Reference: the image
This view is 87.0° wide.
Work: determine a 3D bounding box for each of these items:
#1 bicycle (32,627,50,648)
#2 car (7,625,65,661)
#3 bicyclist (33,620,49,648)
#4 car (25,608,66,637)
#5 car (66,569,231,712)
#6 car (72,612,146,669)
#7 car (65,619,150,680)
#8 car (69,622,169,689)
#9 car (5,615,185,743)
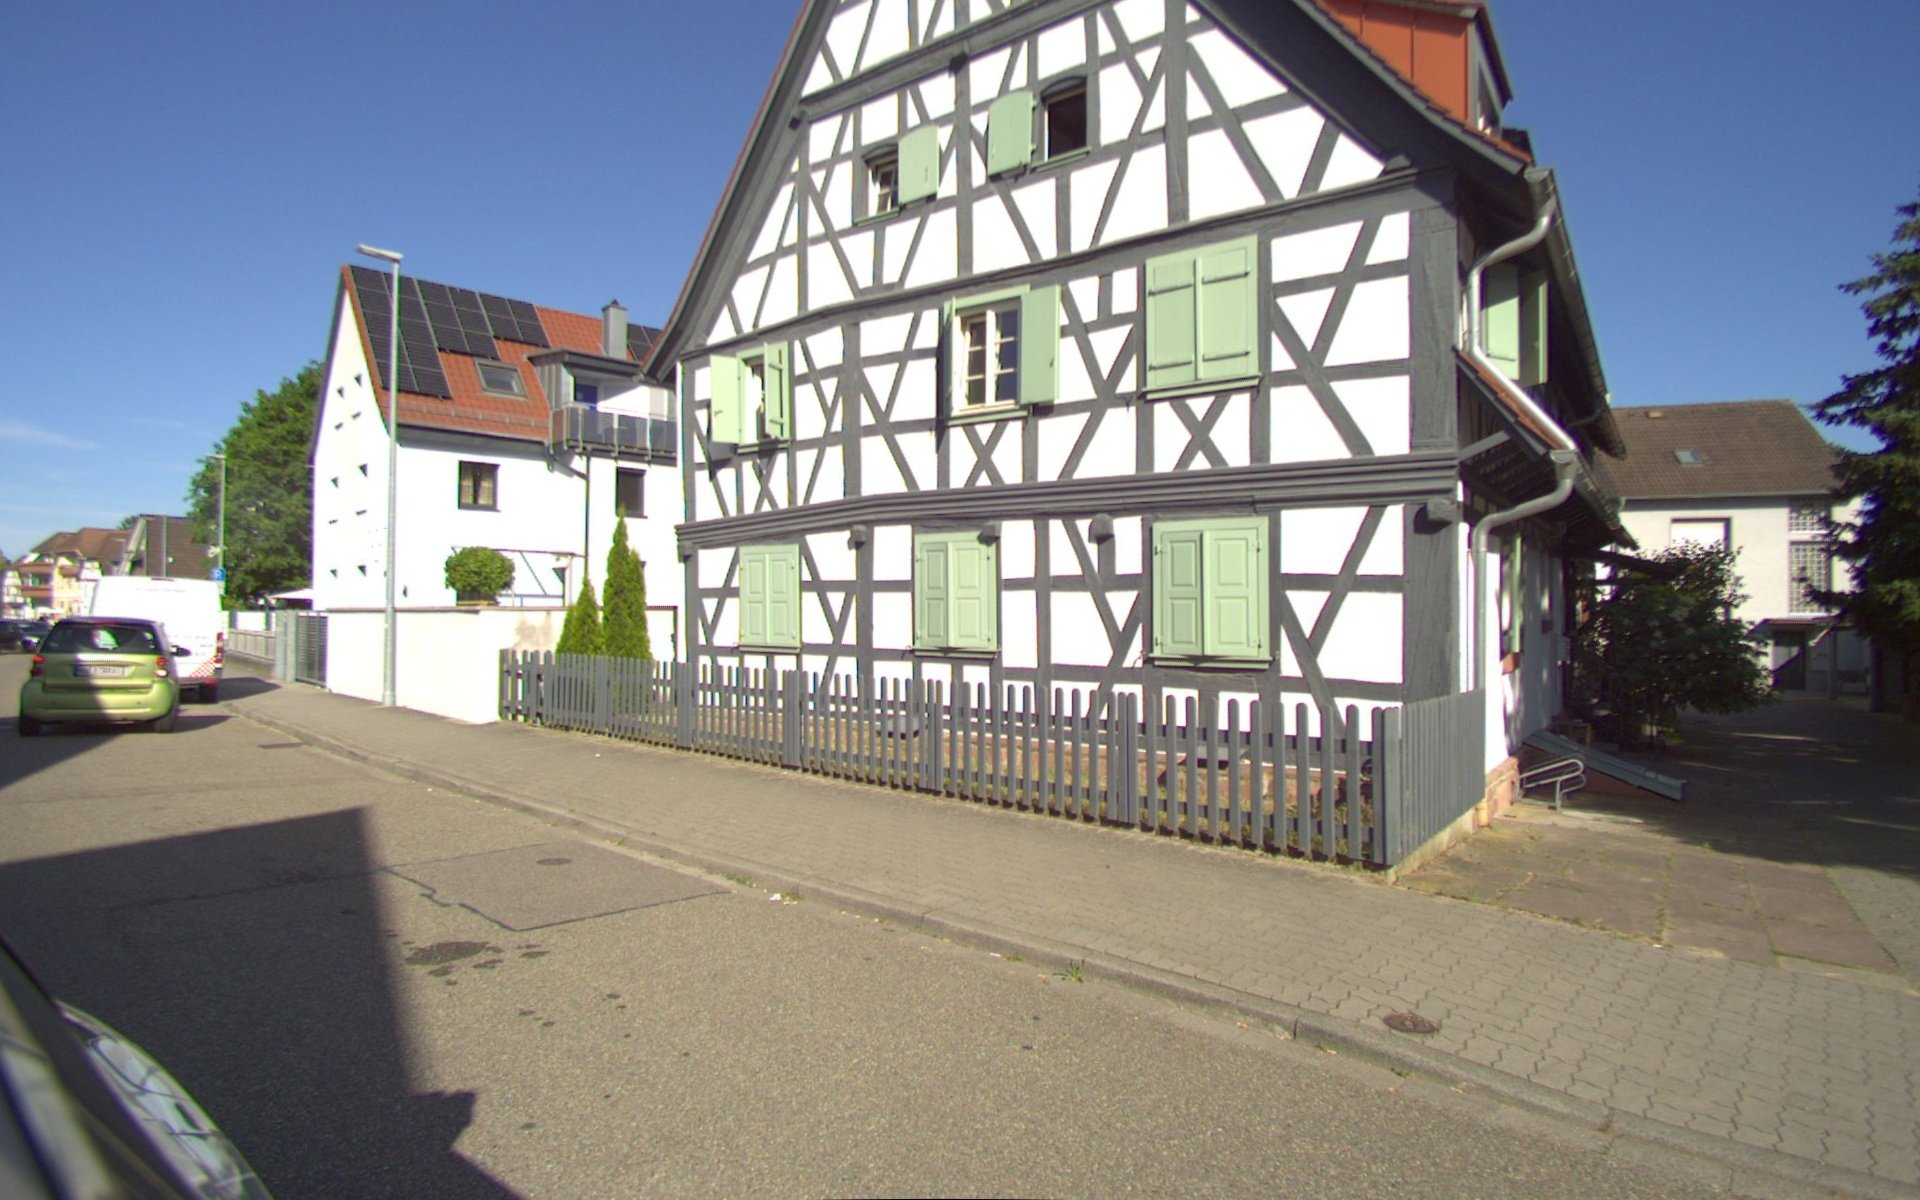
[{"bbox_3d":[-56.048,2.300,61.684,2.023,1.191,0.631,-1,4,45],"label":"bicycle"},{"bbox_3d":[-40.490,1.868,44.366,1.786,1.486,4.849,1,-2,-42],"label":"car"},{"bbox_3d":[-56.100,2.086,61.787,0.605,1.677,0.634,-2,-4,45],"label":"bicyclist"},{"bbox_3d":[-81.263,2.018,89.908,5.517,2.489,2.227,-2,-4,44],"label":"car"},{"bbox_3d":[-16.266,0.788,20.134,2.170,2.408,6.072,3,-3,-41],"label":"car"},{"bbox_3d":[-30.978,1.463,36.796,1.879,1.932,5.077,3,-3,-41],"label":"car"},{"bbox_3d":[-24.058,1.372,28.534,1.693,1.610,3.930,3,-3,-41],"label":"car"},{"bbox_3d":[-20.868,1.353,25.057,1.690,1.516,4.240,4,-4,-41],"label":"car"},{"bbox_3d":[-11.807,1.051,13.989,1.553,1.558,2.972,4,-4,-36],"label":"car"}]
